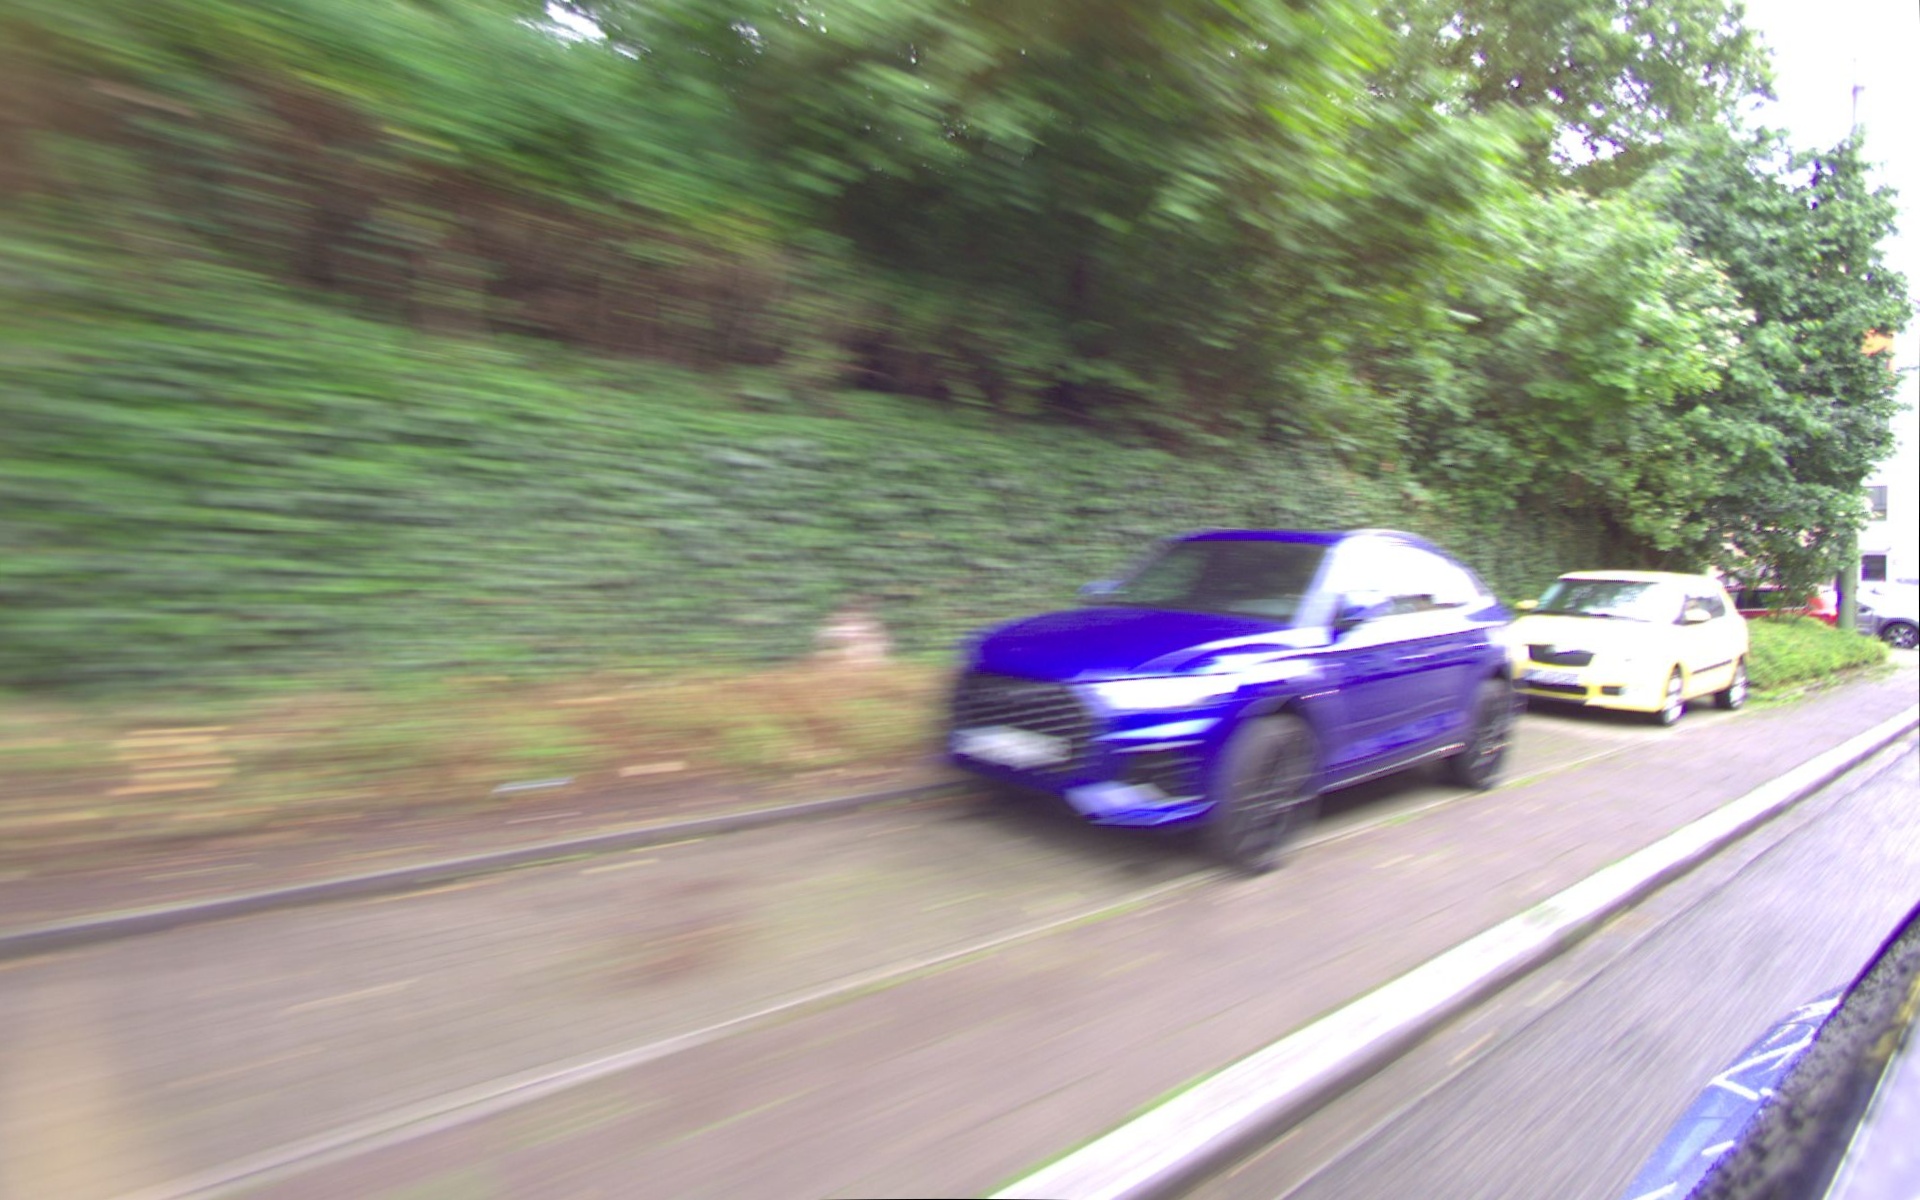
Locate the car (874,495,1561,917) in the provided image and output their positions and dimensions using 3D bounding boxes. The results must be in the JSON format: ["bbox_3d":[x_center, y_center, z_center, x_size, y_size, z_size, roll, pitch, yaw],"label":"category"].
[{"bbox_3d":[1.849,0.334,6.134,4.600,1.643,1.768,-1,3,-42],"label":"car"}]

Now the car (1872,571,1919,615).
[{"bbox_3d":[39.964,-0.187,40.999,1.772,1.664,4.194,-1,6,-40],"label":"car"}]

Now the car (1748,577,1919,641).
[{"bbox_3d":[23.789,0.216,26.891,1.772,1.433,4.193,0,4,-40],"label":"car"}]

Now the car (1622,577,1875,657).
[{"bbox_3d":[17.492,0.292,22.603,1.772,1.613,4.191,0,1,-40],"label":"car"}]

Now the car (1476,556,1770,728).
[{"bbox_3d":[7.260,0.338,10.947,3.830,1.484,1.568,-1,4,-40],"label":"car"}]

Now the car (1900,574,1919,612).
[{"bbox_3d":[43.111,-0.167,43.146,1.772,1.592,4.194,0,5,-40],"label":"car"}]

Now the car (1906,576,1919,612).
[{"bbox_3d":[44.816,-0.128,44.667,1.772,1.592,4.194,0,5,-40],"label":"car"}]

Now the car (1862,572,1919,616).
[{"bbox_3d":[38.105,-0.131,39.386,1.772,1.592,4.194,0,5,-40],"label":"car"}]

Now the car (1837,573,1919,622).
[{"bbox_3d":[34.481,-0.038,36.374,1.772,1.592,4.194,0,5,-40],"label":"car"}]
